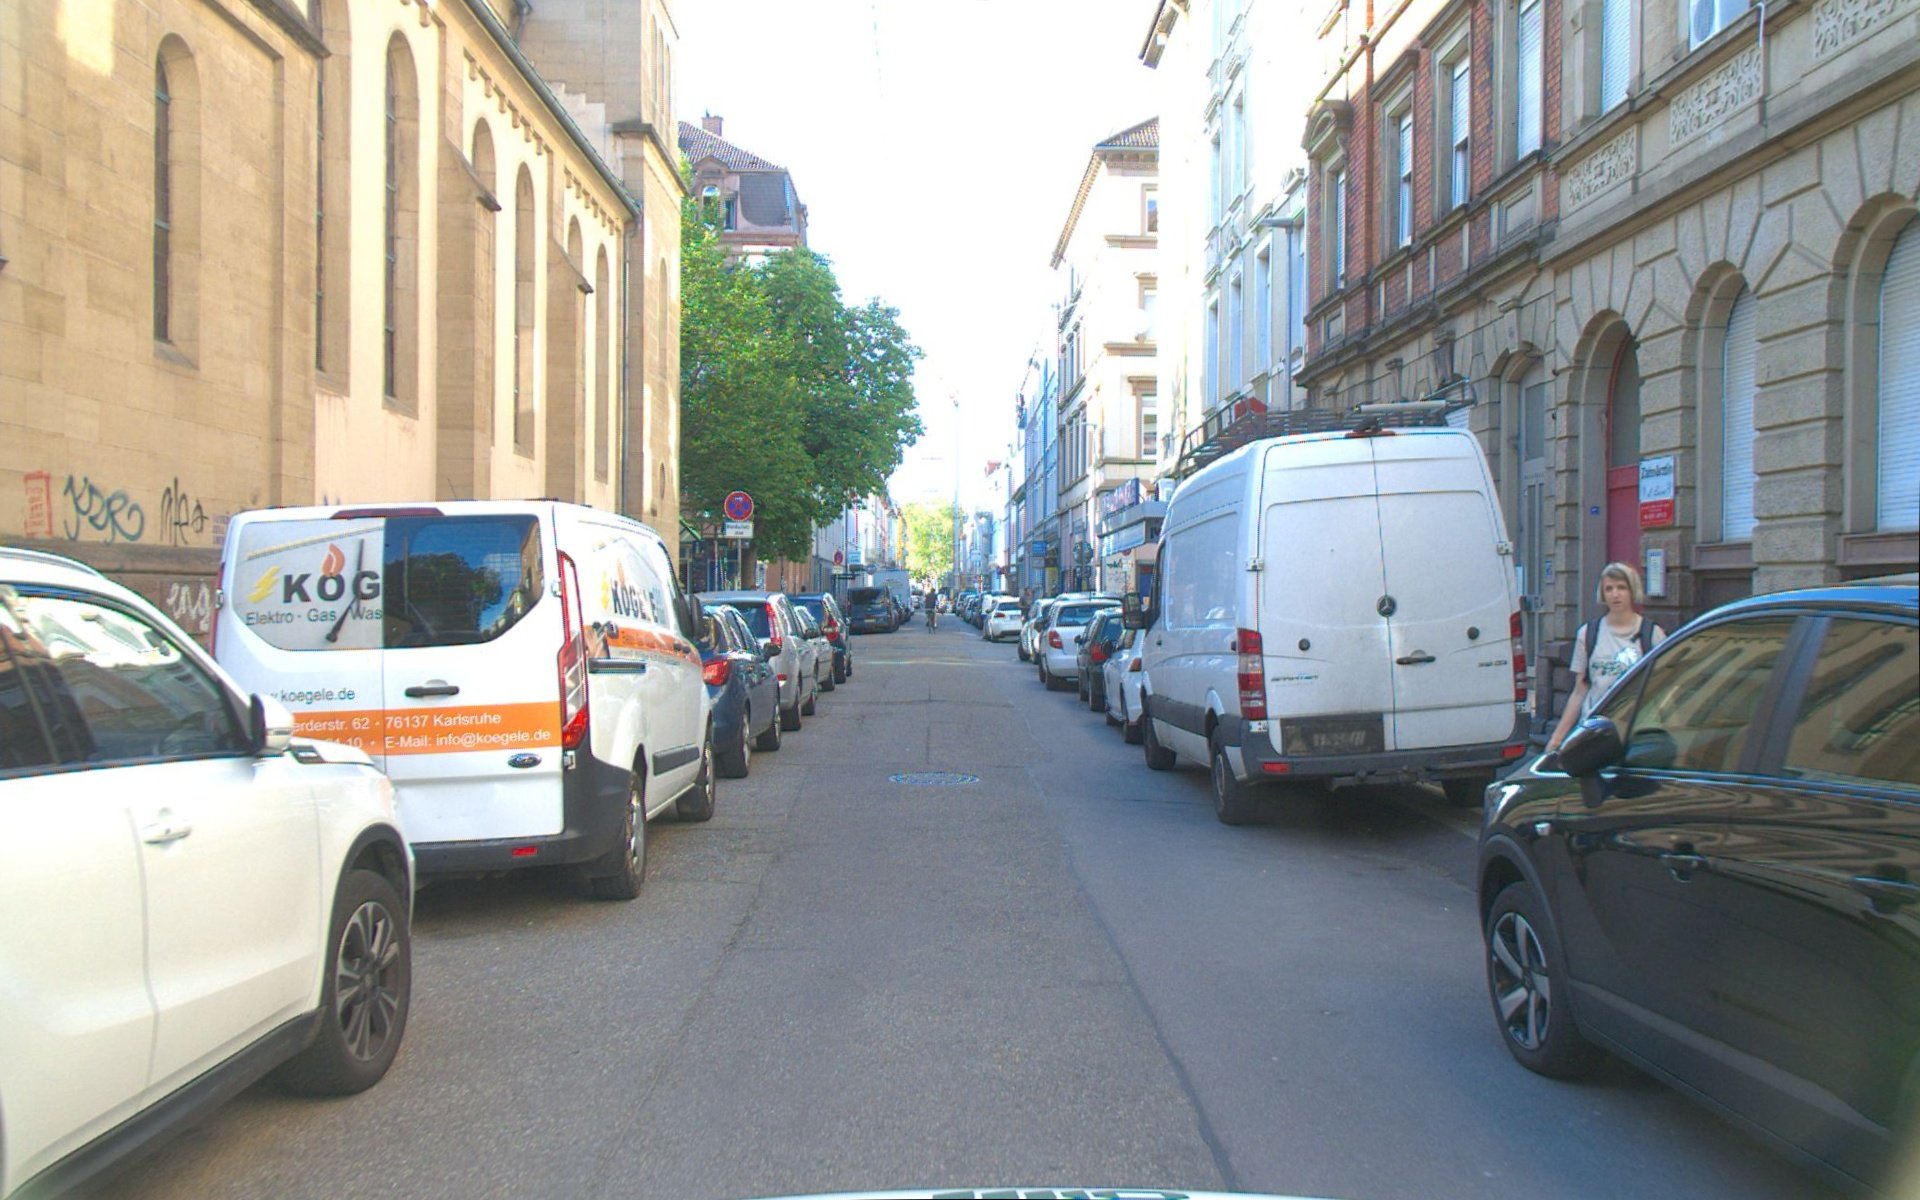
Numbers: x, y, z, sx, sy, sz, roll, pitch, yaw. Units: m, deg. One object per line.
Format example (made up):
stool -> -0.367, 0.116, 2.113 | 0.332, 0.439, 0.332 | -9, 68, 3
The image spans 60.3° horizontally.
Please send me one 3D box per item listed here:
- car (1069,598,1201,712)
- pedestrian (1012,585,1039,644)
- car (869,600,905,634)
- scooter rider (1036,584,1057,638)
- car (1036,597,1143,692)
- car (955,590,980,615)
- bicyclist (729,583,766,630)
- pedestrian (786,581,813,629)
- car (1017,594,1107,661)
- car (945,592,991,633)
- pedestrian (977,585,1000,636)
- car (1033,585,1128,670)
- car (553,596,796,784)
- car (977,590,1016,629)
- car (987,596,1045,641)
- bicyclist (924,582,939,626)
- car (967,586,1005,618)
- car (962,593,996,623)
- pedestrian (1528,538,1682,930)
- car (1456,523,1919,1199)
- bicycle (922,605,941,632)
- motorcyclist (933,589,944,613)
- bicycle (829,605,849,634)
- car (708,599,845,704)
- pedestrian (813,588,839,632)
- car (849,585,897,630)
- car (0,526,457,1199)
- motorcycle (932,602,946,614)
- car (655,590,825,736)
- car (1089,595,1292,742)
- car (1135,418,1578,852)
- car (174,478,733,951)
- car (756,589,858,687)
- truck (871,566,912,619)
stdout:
car -> 2.530, 0.757, 24.601 | 1.537, 1.521, 3.653 | 2, 0, 0
pedestrian -> 2.088, 0.450, 52.814 | 0.669, 1.875, 0.692 | 1, 0, -12
car -> -4.007, 0.911, 91.473 | 1.837, 1.828, 3.999 | 0, 0, -1
scooter rider -> 2.702, 0.339, 51.828 | 0.636, 1.671, 0.684 | 0, 0, 5
car -> 2.241, 0.736, 29.437 | 1.571, 1.531, 4.000 | 2, 0, 0
car -> 0.582, 0.190, 134.236 | 1.953, 2.049, 3.999 | 0, 0, -1
bicyclist -> -6.120, 0.180, 47.622 | 1.040, 1.329, 0.755 | 0, 0, -10
pedestrian -> -6.157, 0.195, 63.477 | 0.910, 1.817, 0.806 | 0, 0, 0
car -> 2.401, 0.621, 39.737 | 1.682, 1.514, 3.867 | 0, 0, -3
car -> 0.324, 0.506, 69.171 | 1.859, 1.680, 3.999 | 0, 0, -1
pedestrian -> 1.048, 0.386, 61.112 | 0.767, 1.875, 1.011 | 1, 0, -2
car -> 2.484, 0.545, 34.871 | 1.681, 1.674, 3.999 | 0, 0, -1
car -> -2.496, 0.721, 15.323 | 1.582, 1.477, 3.949 | -1, 0, -1
car -> 1.702, 0.428, 78.268 | 1.733, 1.771, 4.000 | 0, 0, -1
car -> 1.929, 0.617, 57.839 | 1.859, 1.514, 3.869 | 0, 0, -1
bicyclist -> -1.143, 0.165, 65.737 | 0.593, 1.717, 0.885 | 0, 0, -1
car -> 1.437, 0.105, 91.868 | 1.953, 1.660, 3.999 | 3, 0, -1
car -> 1.155, 0.463, 102.745 | 1.953, 1.715, 3.999 | 3, 0, -1
pedestrian -> 3.146, 0.622, 8.098 | 0.626, 1.803, 0.679 | 2, -1, 20
car -> 2.706, 0.689, 4.214 | 1.653, 1.671, 3.924 | 1, 0, -1
bicycle -> -1.139, 0.738, 65.775 | 0.724, 1.062, 1.859 | 0, 0, -1
motorcyclist -> -1.816, 0.068, 140.058 | 0.884, 2.049, 1.190 | 0, 0, -3
bicycle -> -4.892, 0.784, 66.743 | 0.633, 1.128, 1.600 | 0, 0, -11
car -> -2.802, 0.748, 25.943 | 1.537, 1.422, 3.809 | -3, 0, 2
pedestrian -> -5.143, 0.393, 63.455 | 0.910, 1.666, 0.806 | 0, 0, 0
car -> -3.622, 0.293, 69.785 | 1.837, 1.828, 3.999 | 0, 0, -1
car -> -2.556, 0.663, 3.683 | 1.707, 1.614, 3.868 | 1, 0, -1
motorcycle -> -1.789, 0.685, 139.806 | 1.021, 0.997, 2.823 | 0, 0, -3
car -> -2.591, 0.687, 20.245 | 1.639, 1.586, 3.999 | -1, 0, -2
car -> 2.645, 0.732, 19.892 | 1.743, 1.512, 4.359 | 2, 0, -1
car -> 2.766, 0.199, 13.177 | 2.026, 2.656, 5.887 | 1, 0, -1
car -> -2.498, 0.484, 9.437 | 1.826, 1.991, 4.609 | -1, 0, -1
car -> -2.764, 0.653, 30.496 | 1.568, 1.642, 3.807 | -2, 0, -1
truck -> -4.432, -0.489, 108.083 | 2.480, 3.339, 6.993 | 0, 0, -1
